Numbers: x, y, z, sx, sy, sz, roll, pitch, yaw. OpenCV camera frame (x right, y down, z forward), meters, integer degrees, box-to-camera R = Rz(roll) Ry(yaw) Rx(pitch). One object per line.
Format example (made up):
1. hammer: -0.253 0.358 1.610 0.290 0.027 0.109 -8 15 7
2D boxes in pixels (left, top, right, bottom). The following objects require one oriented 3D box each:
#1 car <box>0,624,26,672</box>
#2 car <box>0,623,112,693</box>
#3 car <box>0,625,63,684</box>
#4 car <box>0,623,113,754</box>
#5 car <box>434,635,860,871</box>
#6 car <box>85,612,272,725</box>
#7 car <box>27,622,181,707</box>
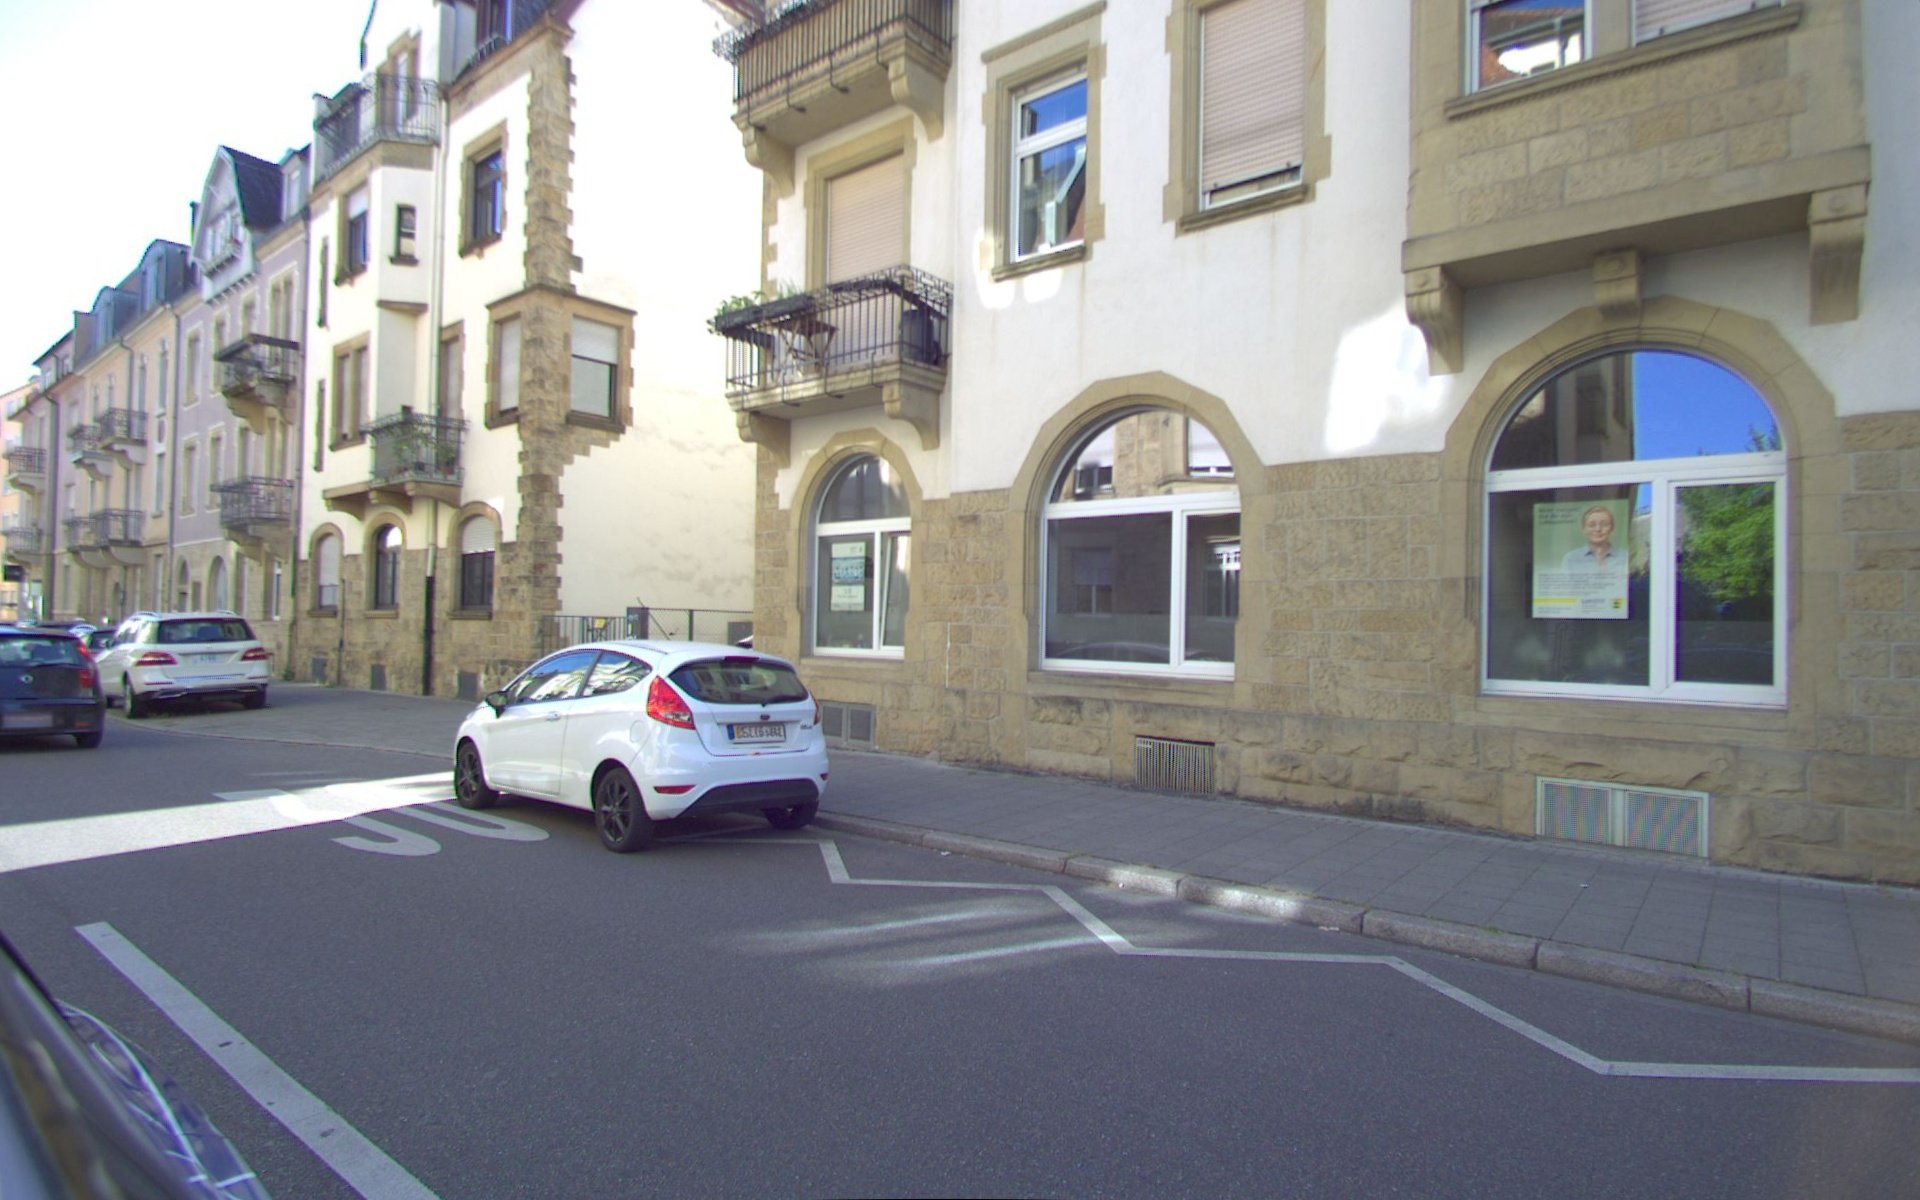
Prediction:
1. car: -33.145 1.607 34.222 4.319 1.520 1.866 -1 0 41
2. car: -22.953 1.384 25.435 4.319 1.520 1.866 -1 0 41
3. car: -27.162 1.517 28.875 4.317 1.511 1.833 -1 0 41
4. car: -12.049 1.021 12.625 3.640 1.468 1.635 -1 -2 40
5. car: -2.652 1.048 8.191 3.642 1.469 1.634 -2 -5 42
6. car: -13.964 1.101 18.006 4.209 1.740 1.866 -1 0 41
7. car: -18.449 1.292 21.754 4.319 1.519 1.866 -1 2 41
